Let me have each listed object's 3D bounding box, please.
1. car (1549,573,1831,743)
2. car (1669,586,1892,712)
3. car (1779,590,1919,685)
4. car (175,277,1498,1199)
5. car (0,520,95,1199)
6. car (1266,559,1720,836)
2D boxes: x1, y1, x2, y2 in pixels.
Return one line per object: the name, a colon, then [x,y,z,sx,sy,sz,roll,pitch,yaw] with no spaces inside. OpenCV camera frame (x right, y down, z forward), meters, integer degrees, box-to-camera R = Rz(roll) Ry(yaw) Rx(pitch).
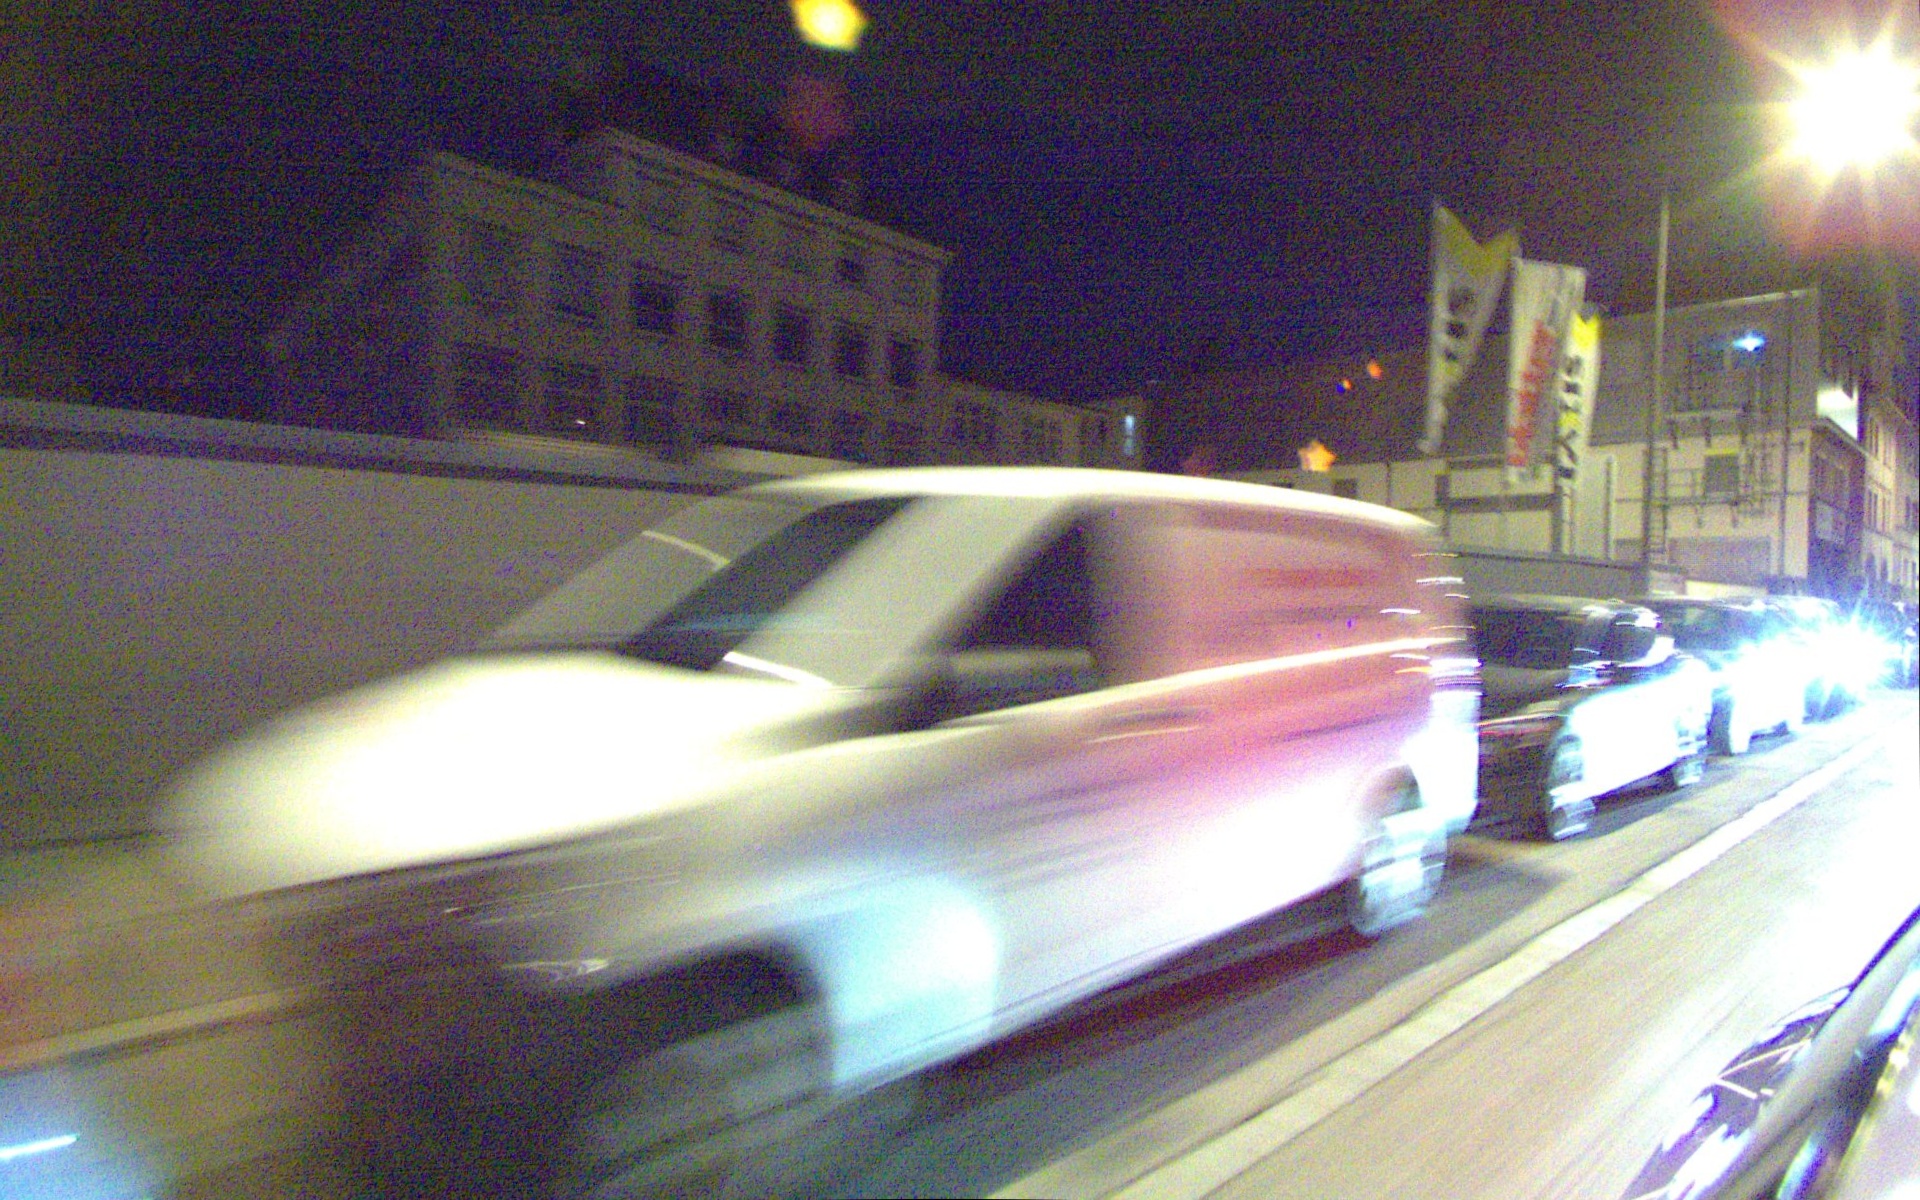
car: [7.775,0.468,10.667,3.654,1.485,1.598,-1,1,-40]
car: [11.277,0.545,13.829,3.825,1.444,1.782,-1,1,-42]
car: [16.317,0.564,18.112,4.402,1.444,1.782,-1,1,-40]
car: [0.079,0.404,3.787,4.690,1.898,1.804,0,3,-41]
car: [-3.331,0.591,0.661,4.112,1.445,1.821,0,2,-38]
car: [3.970,0.476,7.273,3.823,1.485,1.598,-1,1,-40]
